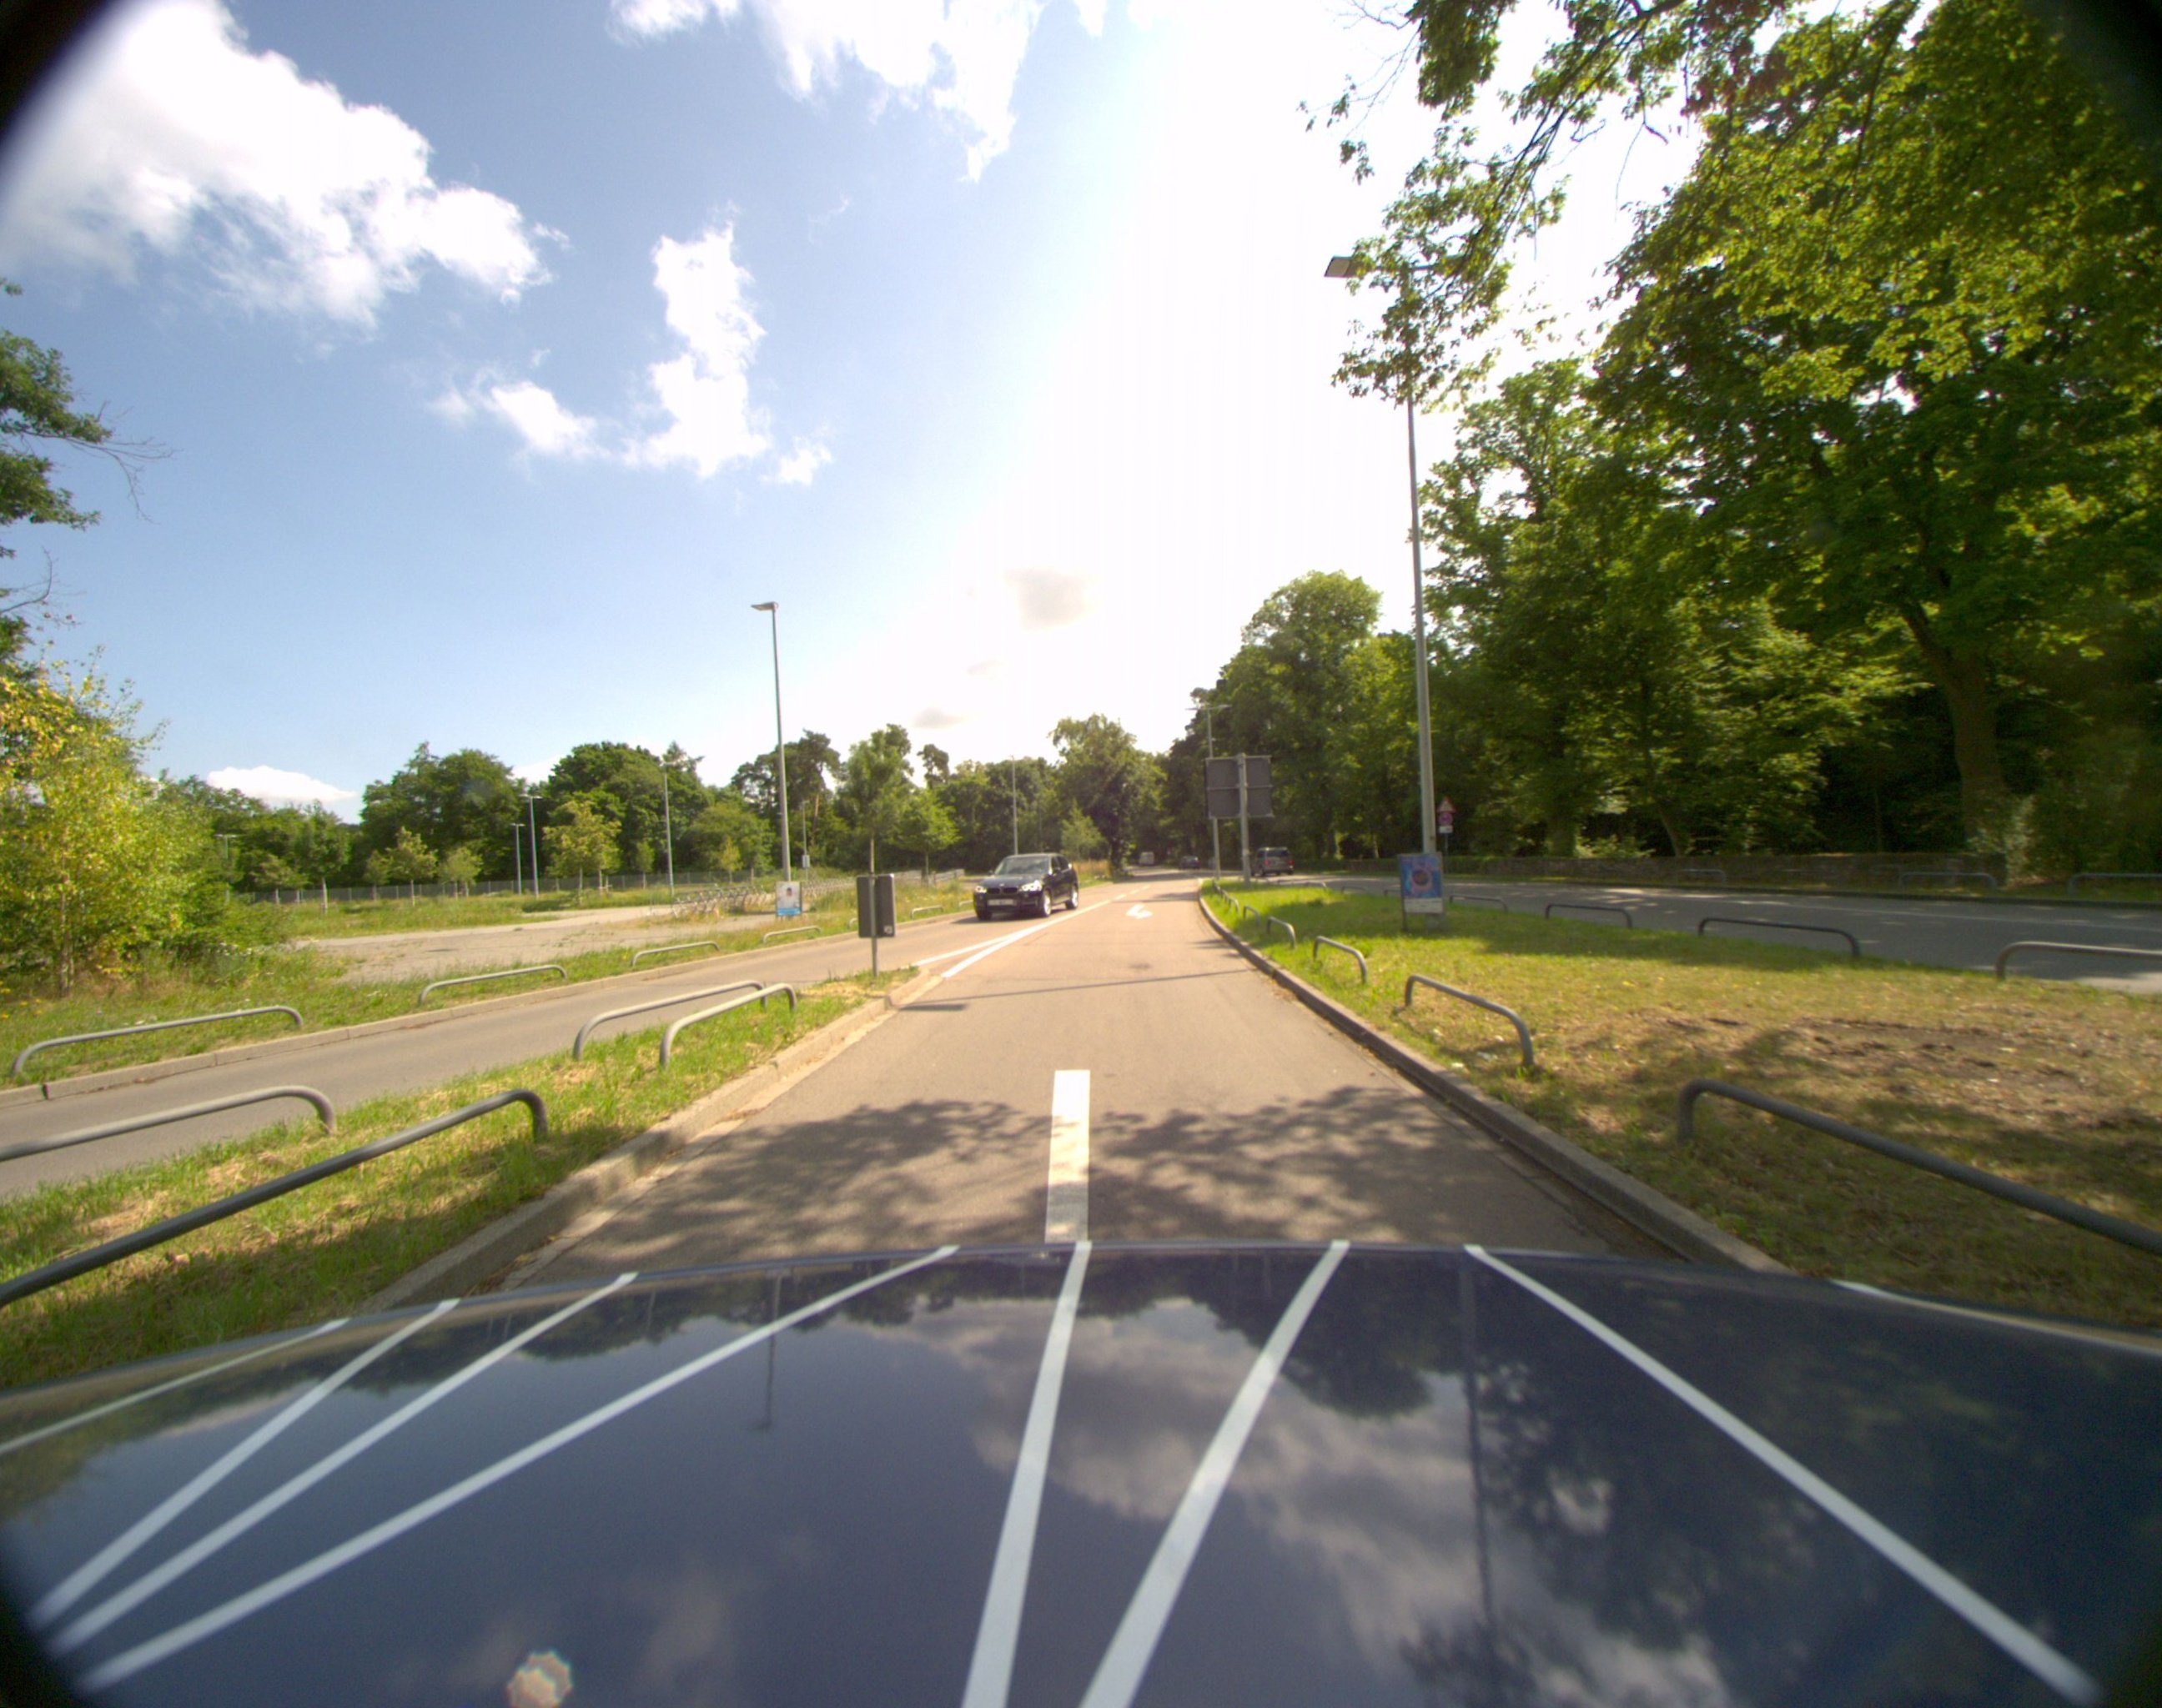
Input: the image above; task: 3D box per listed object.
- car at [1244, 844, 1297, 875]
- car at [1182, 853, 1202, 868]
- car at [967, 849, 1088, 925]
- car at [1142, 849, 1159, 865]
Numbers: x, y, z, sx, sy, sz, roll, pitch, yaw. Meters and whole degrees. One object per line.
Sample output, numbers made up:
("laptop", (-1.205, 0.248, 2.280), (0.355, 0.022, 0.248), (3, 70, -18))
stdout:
("car", (11.006, 0.334, 44.367), (1.766, 1.620, 4.298), (-5, 0, -3))
("car", (11.706, 0.672, 80.396), (1.698, 1.438, 4.067), (-4, 1, 4))
("car", (-1.359, 0.848, 21.642), (1.978, 1.755, 4.711), (-3, 1, 14))
("car", (11.502, 0.509, 126.086), (1.980, 2.417, 5.361), (-4, 1, -2))
